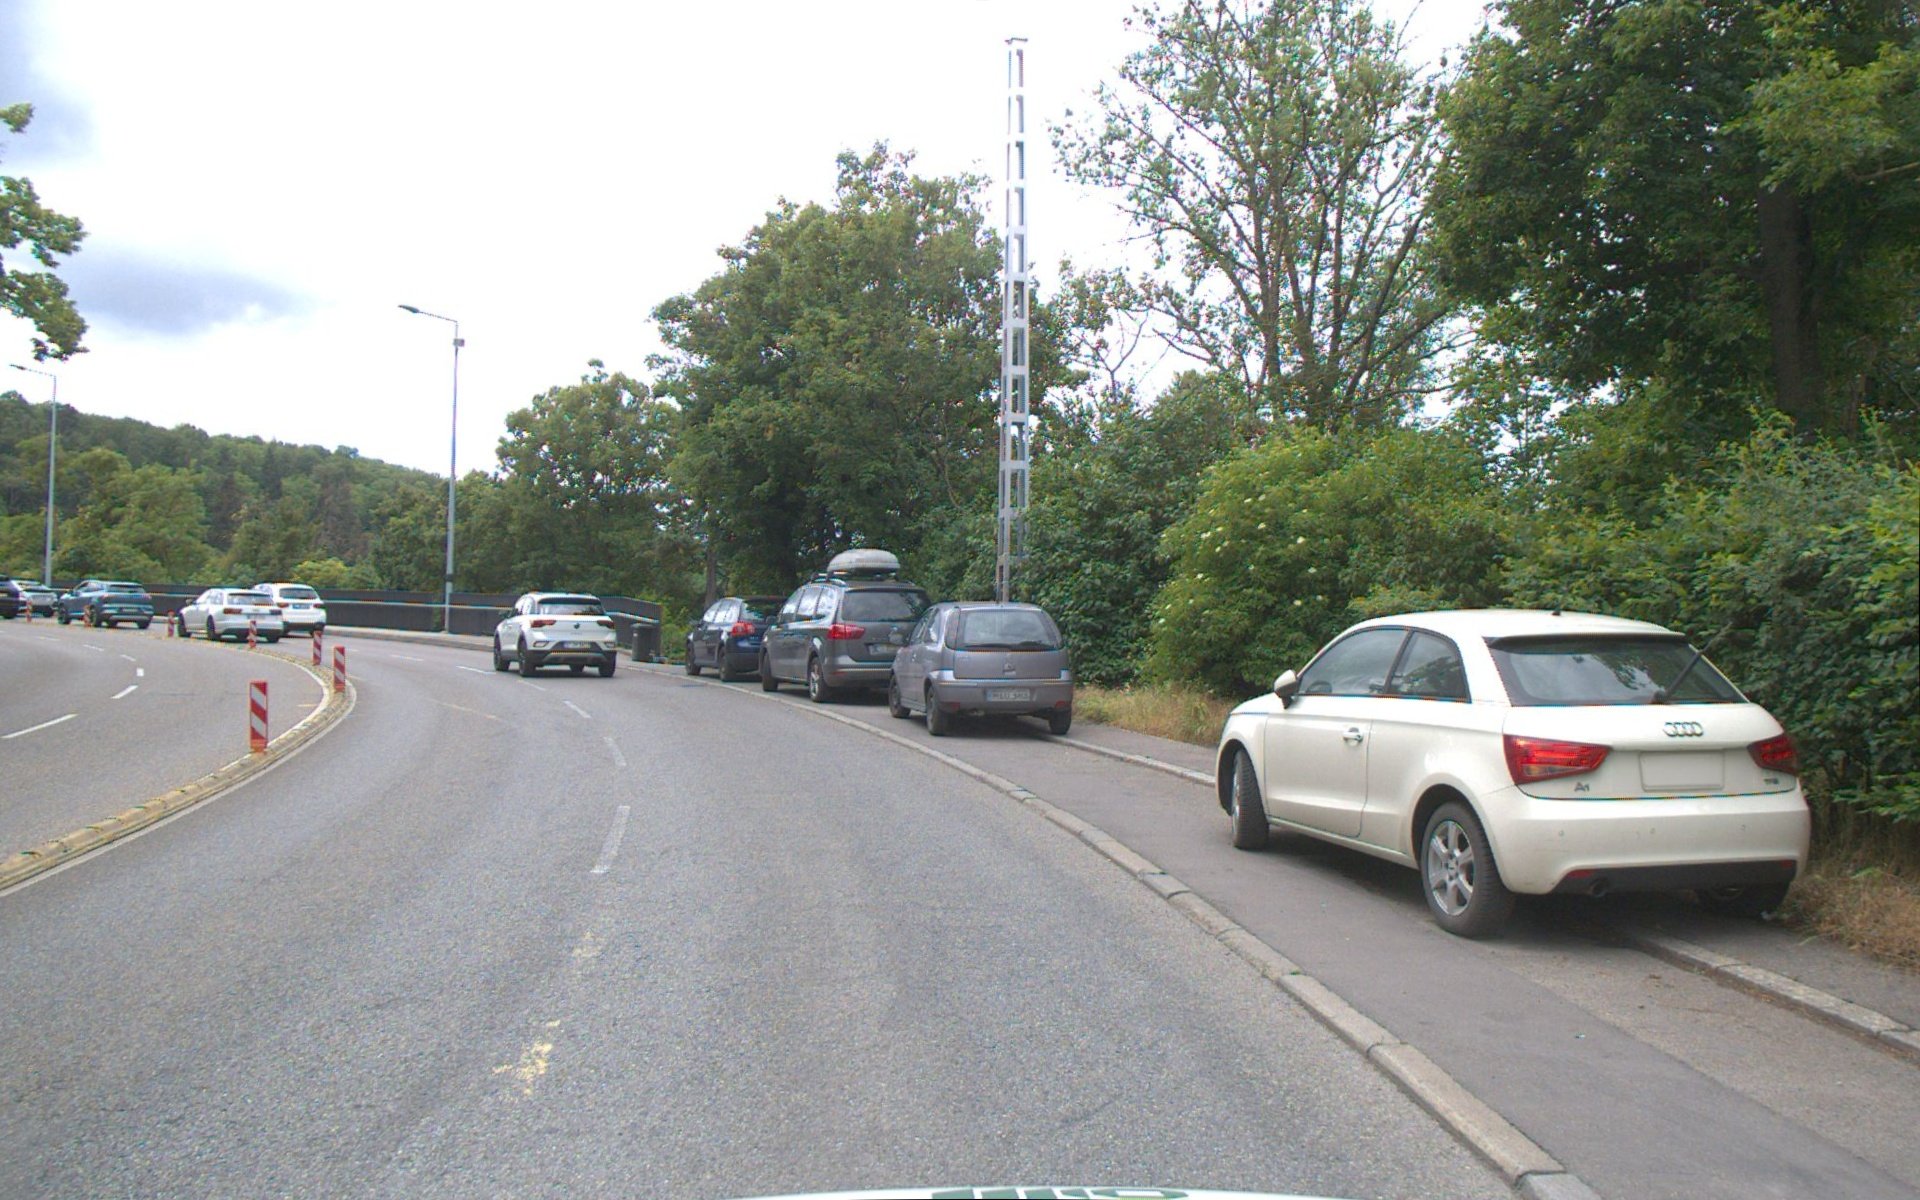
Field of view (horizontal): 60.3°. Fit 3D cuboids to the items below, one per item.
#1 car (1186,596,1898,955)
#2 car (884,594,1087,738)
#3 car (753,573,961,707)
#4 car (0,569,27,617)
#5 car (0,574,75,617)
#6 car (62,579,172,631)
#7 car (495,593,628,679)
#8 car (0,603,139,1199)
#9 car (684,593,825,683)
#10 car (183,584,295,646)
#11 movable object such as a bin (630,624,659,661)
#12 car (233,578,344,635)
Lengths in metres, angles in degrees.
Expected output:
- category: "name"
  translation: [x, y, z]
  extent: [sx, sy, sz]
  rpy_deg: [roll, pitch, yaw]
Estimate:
- category: "car"
  translation: [2.773, 0.723, 8.933]
  extent: [1.747, 1.443, 3.986]
  rpy_deg: [-1, 0, -14]
- category: "car"
  translation: [0.195, 0.715, 19.515]
  extent: [1.611, 1.490, 3.989]
  rpy_deg: [2, -1, -11]
- category: "car"
  translation: [-1.657, 0.549, 24.824]
  extent: [1.773, 1.803, 4.578]
  rpy_deg: [2, 0, -21]
- category: "car"
  translation: [-37.016, -0.334, 62.198]
  extent: [3.919, 1.719, 1.815]
  rpy_deg: [2, -1, 35]
- category: "car"
  translation: [-37.537, -0.200, 66.499]
  extent: [3.456, 1.552, 1.697]
  rpy_deg: [2, -1, 27]
- category: "car"
  translation: [-28.476, 0.164, 55.835]
  extent: [3.939, 1.568, 1.988]
  rpy_deg: [2, -1, 42]
- category: "car"
  translation: [-7.842, 0.655, 32.305]
  extent: [1.843, 1.563, 3.773]
  rpy_deg: [0, 0, -25]
- category: "car"
  translation: [-2.644, 0.689, 0.985]
  extent: [1.810, 1.492, 4.878]
  rpy_deg: [3, -1, 0]
- category: "car"
  translation: [-3.850, 0.665, 30.441]
  extent: [1.636, 1.513, 4.010]
  rpy_deg: [2, 0, -21]
- category: "car"
  translation: [-20.548, 0.410, 47.066]
  extent: [1.894, 1.601, 3.944]
  rpy_deg: [4, -1, -39]
- category: "movable object such as a bin"
  translation: [-7.899, 1.058, 41.381]
  extent: [0.515, 0.896, 0.526]
  rpy_deg: [3, -1, -32]
- category: "car"
  translation: [-21.422, 0.194, 52.708]
  extent: [1.984, 1.614, 3.938]
  rpy_deg: [4, -1, -43]
